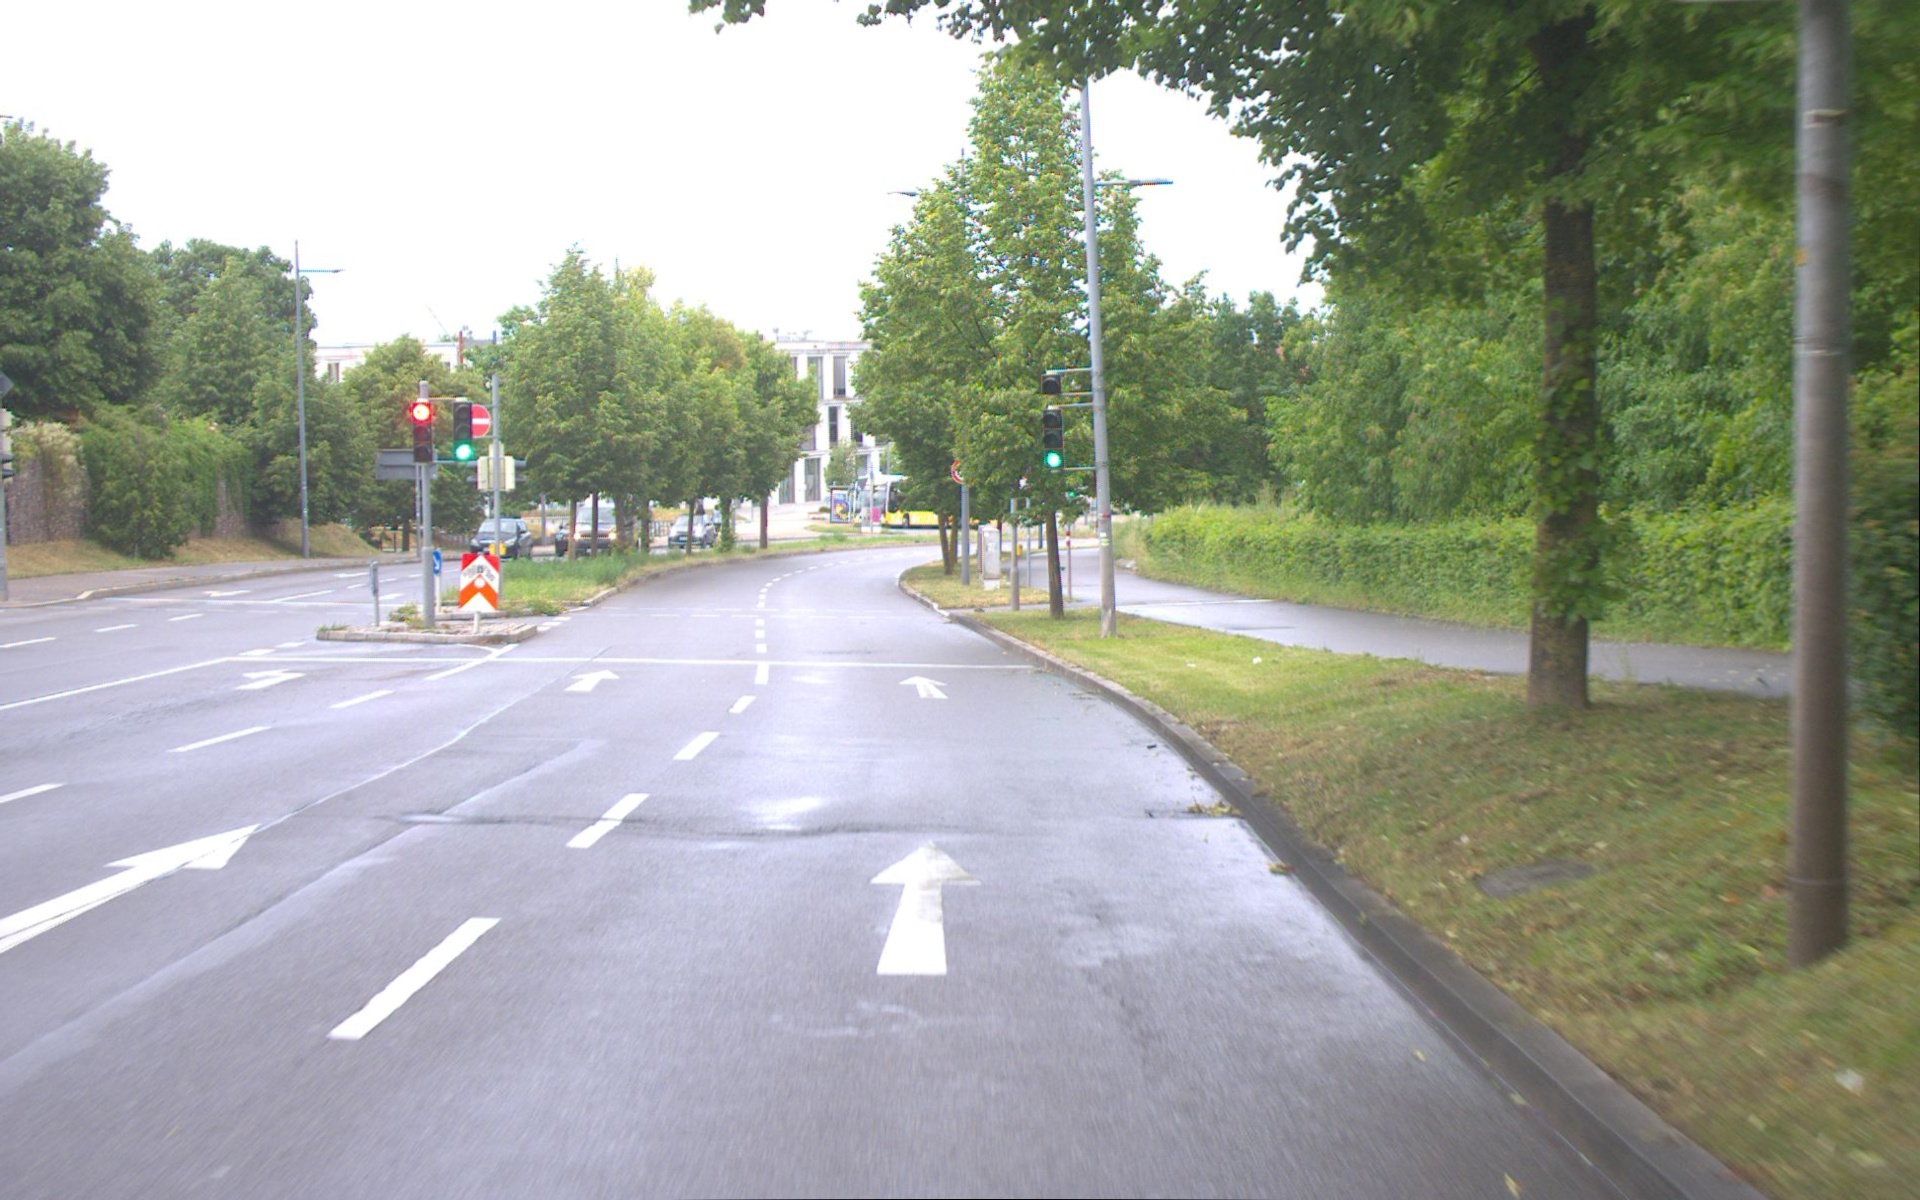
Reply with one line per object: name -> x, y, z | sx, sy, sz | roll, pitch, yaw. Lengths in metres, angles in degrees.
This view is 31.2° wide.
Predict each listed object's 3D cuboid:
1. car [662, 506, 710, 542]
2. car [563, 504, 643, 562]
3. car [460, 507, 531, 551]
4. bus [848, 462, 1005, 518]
car -> -12.256, -3.429, 154.052 | 1.686, 1.534, 2.916 | 1, 2, 5
car -> -12.236, -2.316, 118.186 | 2.014, 1.912, 5.095 | 0, 1, 2
car -> -15.836, -2.437, 117.317 | 1.598, 1.484, 4.000 | 1, 2, 4
bus -> -2.035, -7.198, 226.454 | 2.788, 3.345, 18.202 | 1, 1, 25
